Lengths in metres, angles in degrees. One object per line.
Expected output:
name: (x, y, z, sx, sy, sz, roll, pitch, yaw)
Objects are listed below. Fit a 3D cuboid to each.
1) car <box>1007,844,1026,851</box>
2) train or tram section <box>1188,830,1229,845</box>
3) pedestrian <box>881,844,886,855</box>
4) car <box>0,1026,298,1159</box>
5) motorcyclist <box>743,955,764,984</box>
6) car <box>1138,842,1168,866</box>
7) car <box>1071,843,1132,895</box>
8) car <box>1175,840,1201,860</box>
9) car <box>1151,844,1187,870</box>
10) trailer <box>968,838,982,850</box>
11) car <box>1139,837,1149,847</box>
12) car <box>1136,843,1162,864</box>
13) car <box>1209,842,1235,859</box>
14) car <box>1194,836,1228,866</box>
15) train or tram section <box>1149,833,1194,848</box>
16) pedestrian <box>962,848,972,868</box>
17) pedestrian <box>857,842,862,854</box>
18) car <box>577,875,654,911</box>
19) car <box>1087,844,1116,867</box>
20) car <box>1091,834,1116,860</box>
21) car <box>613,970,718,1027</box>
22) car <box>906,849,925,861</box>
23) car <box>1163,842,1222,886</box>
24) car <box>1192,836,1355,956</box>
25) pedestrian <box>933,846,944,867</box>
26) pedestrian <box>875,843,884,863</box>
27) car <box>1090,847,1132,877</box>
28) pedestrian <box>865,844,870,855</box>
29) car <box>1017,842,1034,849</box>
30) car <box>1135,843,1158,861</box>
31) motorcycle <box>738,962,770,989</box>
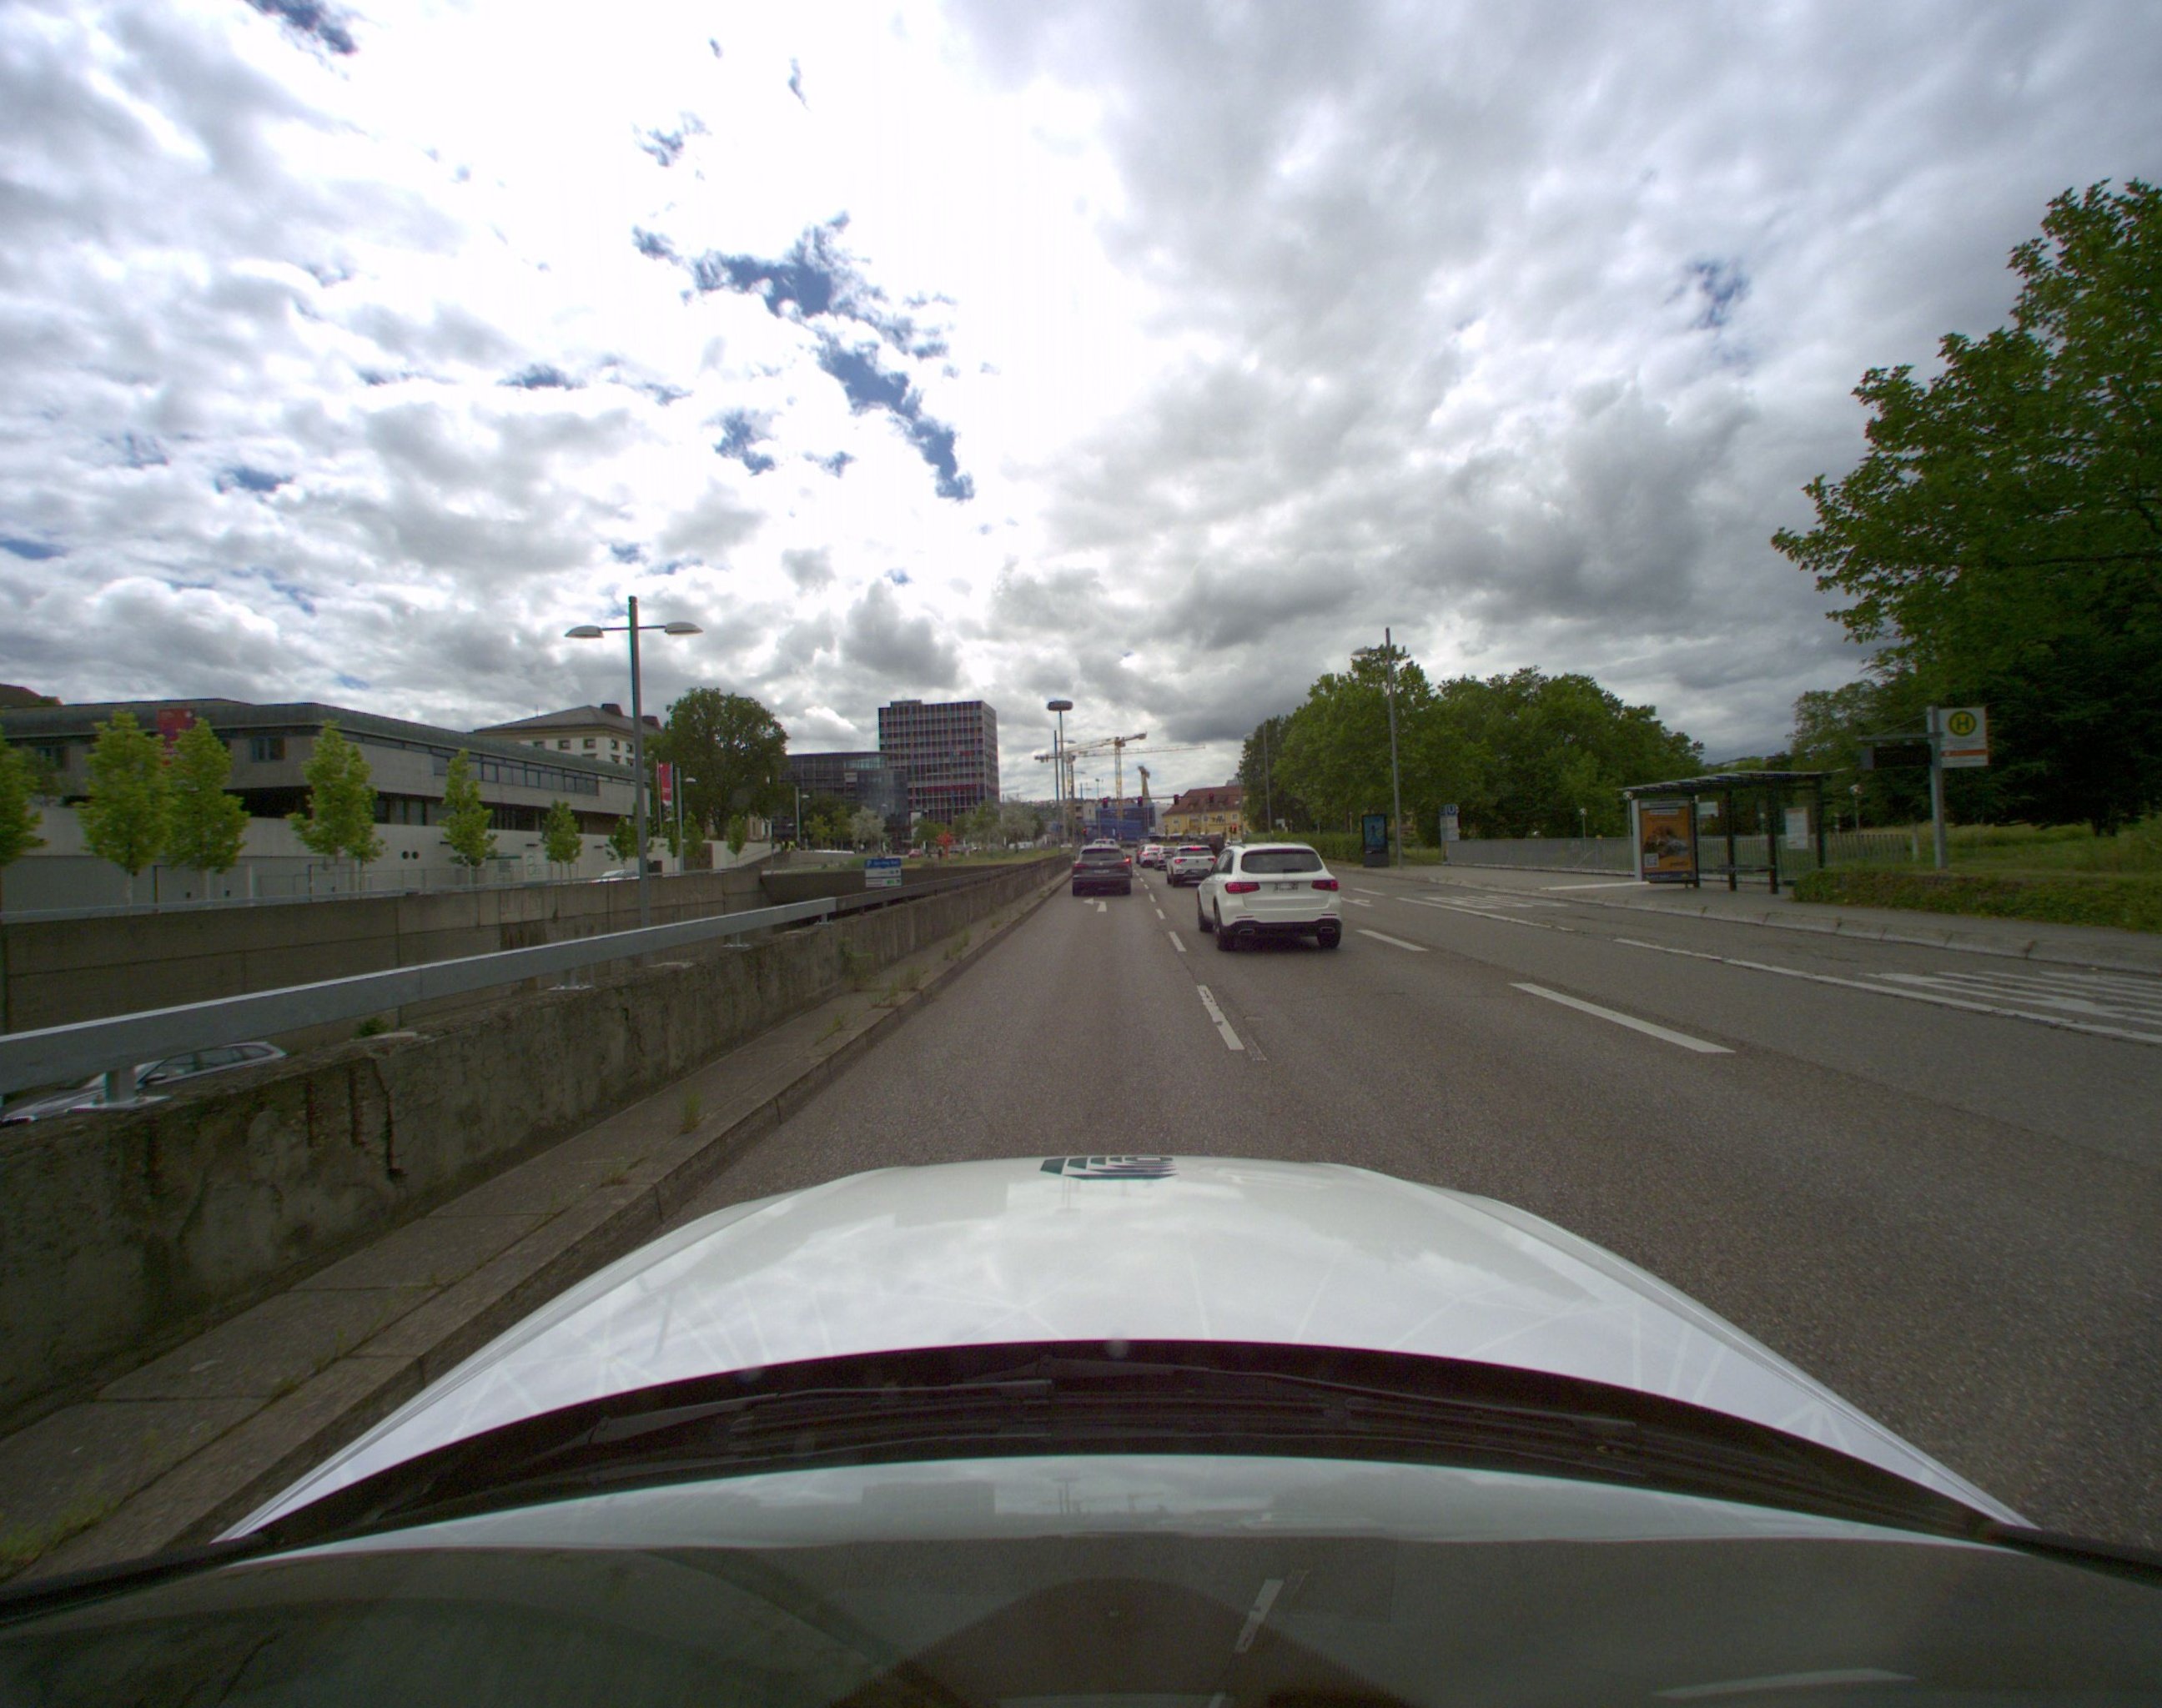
car: (-14.630, -1.473, 184.527, 4.060, 1.610, 1.841, -1, -1, 37)
train or tram section: (27.814, -3.584, 178.118, 8.836, 3.009, 2.613, -1, -1, 41)
pedestrian: (-37.457, -0.788, 154.183, 0.740, 2.013, 0.788, -3, 2, -18)
car: (-19.419, 4.827, 16.991, 1.864, 1.613, 4.390, -4, -3, 0)
motorcyclist: (-17.056, 6.004, 42.406, 0.667, 1.352, 0.718, -6, -3, 1)
car: (4.897, -0.009, 56.066, 1.918, 1.529, 4.494, -1, 0, 3)
car: (0.726, 0.471, 28.111, 1.944, 1.651, 4.002, 0, 1, 2)
car: (9.380, -0.344, 71.725, 1.902, 1.697, 4.015, 0, 0, 3)
car: (5.291, 0.177, 49.325, 1.918, 1.432, 4.494, -1, 0, 3)
trailer: (-23.319, -2.184, 178.984, 2.029, 2.604, 5.512, 0, 1, 2)
car: (10.663, -1.987, 138.433, 1.612, 1.627, 4.003, 0, -1, 3)
car: (5.359, -0.046, 64.882, 1.918, 1.529, 4.051, -1, 0, 3)
car: (12.536, -0.293, 72.730, 1.751, 1.447, 3.634, 0, 0, 1)
car: (8.957, -0.218, 56.466, 1.902, 2.013, 4.015, 0, 0, 3)
train or tram section: (20.503, -3.064, 184.268, 10.295, 3.009, 2.613, -1, -1, 39)
pedestrian: (-11.535, 0.389, 82.567, 0.857, 2.013, 0.629, -3, 2, 1)
pedestrian: (-40.538, -1.101, 149.349, 0.740, 2.013, 0.788, -3, 2, -18)
car: (-27.436, 2.288, 48.173, 1.986, 1.763, 4.002, -5, 0, 2)
car: (1.476, 0.065, 58.220, 1.944, 1.599, 3.933, 0, 1, 2)
car: (1.845, -0.539, 65.677, 1.944, 2.018, 3.933, 0, 1, 2)
car: (-15.840, 5.489, 31.310, 1.769, 1.489, 4.146, -4, -3, 1)
car: (-26.702, 0.181, 131.473, 2.168, 1.854, 4.736, -2, 1, 0)
car: (4.285, 0.357, 31.874, 1.918, 1.550, 4.494, -1, 0, 3)
car: (3.032, 0.584, 13.788, 1.918, 1.653, 4.494, -1, 0, 3)
pedestrian: (-14.422, 0.227, 82.304, 0.794, 2.013, 0.830, -3, 1, -26)
pedestrian: (-21.484, -0.108, 86.988, 0.729, 2.012, 0.628, -3, 5, -5)
car: (1.481, 0.366, 40.409, 1.944, 1.384, 3.933, 0, 1, 2)
pedestrian: (-39.193, -0.815, 149.242, 0.740, 2.013, 0.788, -3, 2, -18)
car: (-14.176, -2.128, 207.163, 3.948, 1.568, 1.849, -1, -1, 35)
car: (5.695, -0.183, 71.166, 1.918, 1.529, 4.051, -1, 0, 3)
motorcycle: (-17.024, 6.311, 42.421, 0.683, 1.098, 2.051, -6, -3, 2)
